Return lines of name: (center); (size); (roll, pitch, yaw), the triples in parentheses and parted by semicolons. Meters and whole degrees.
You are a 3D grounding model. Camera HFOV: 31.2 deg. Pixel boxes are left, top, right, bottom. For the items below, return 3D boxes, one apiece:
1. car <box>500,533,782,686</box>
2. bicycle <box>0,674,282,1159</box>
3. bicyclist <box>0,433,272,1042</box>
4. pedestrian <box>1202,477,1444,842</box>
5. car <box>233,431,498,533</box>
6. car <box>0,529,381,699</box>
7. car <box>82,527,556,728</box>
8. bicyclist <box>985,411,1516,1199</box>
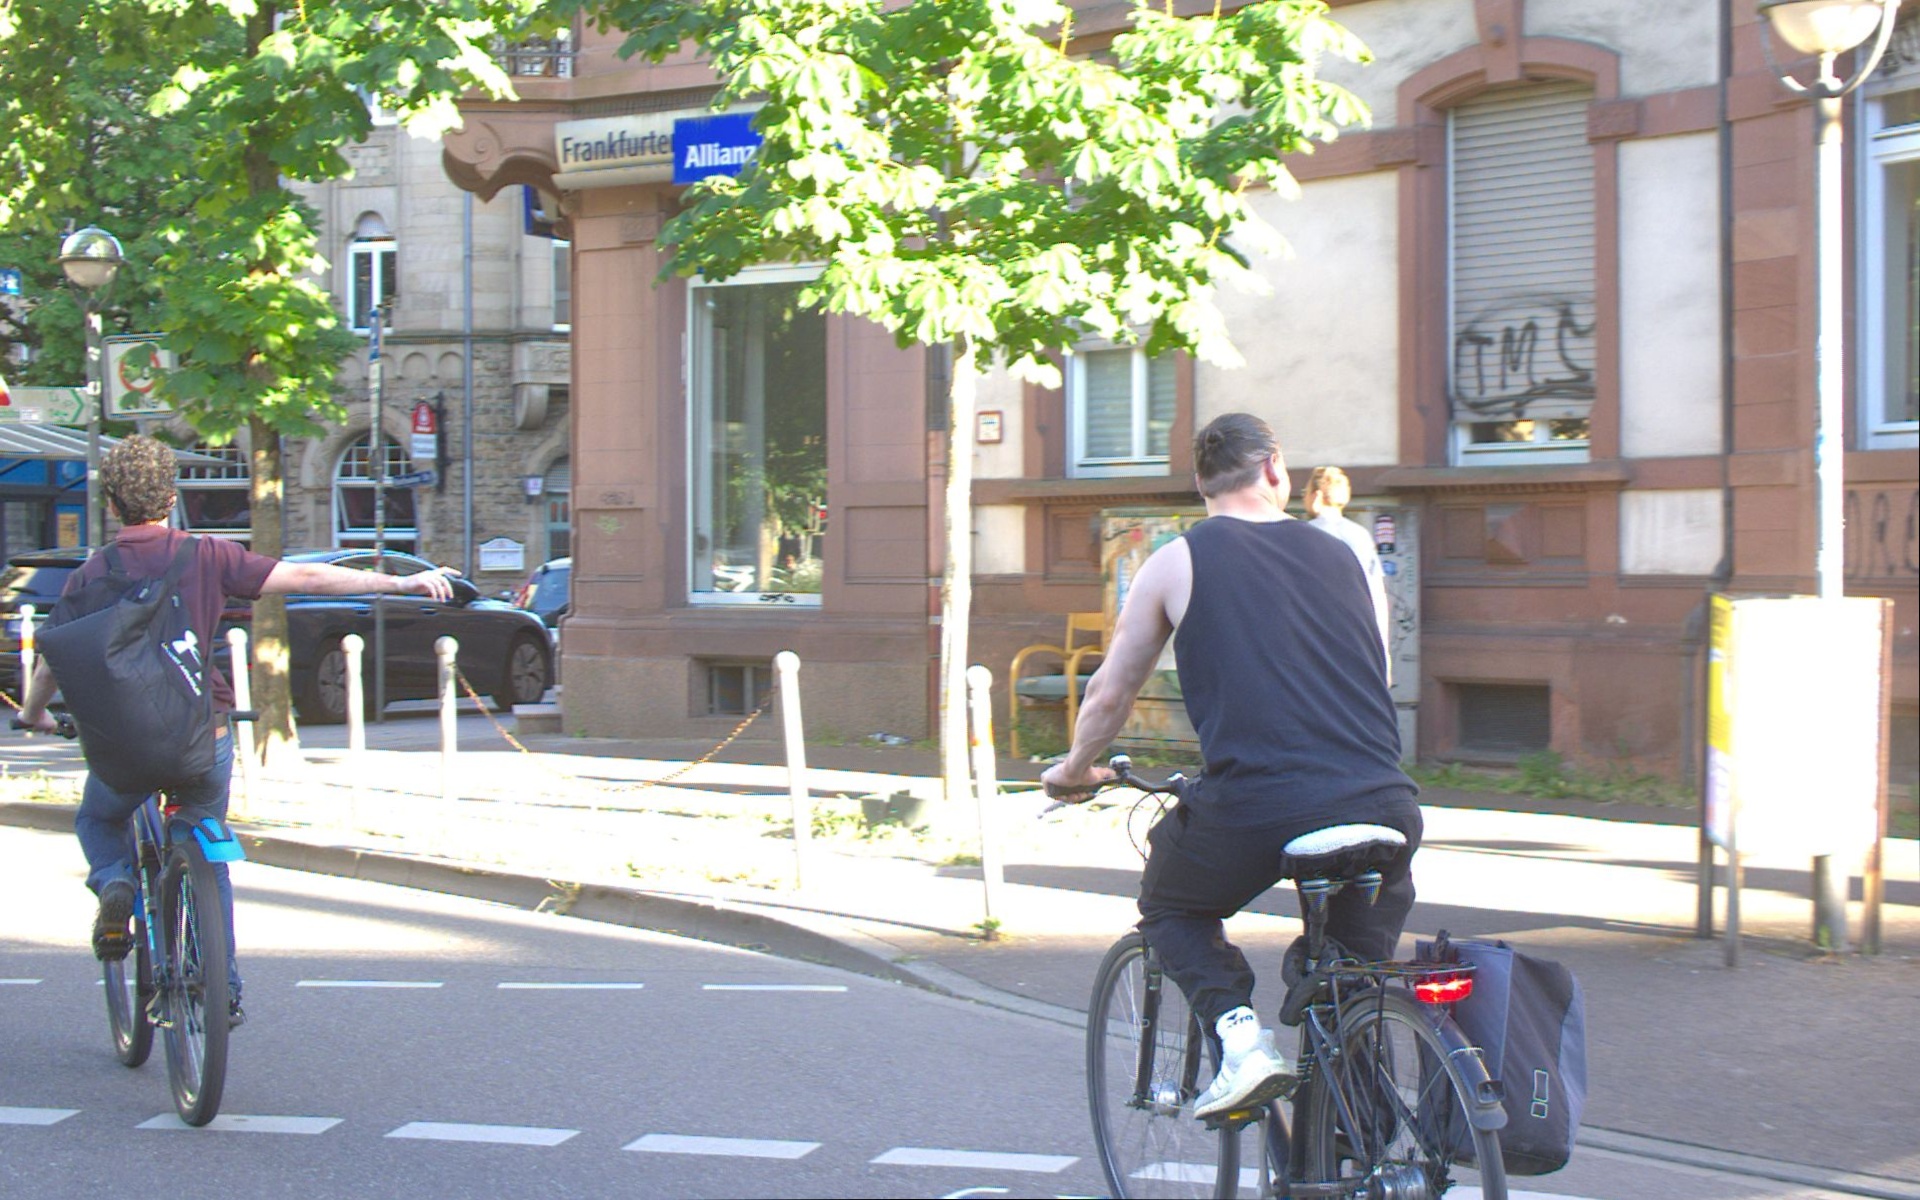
car: (-3.154, 0.058, 34.511); (1.502, 1.452, 3.203); (1, 1, 23)
bicycle: (-2.262, 0.797, 9.437); (0.717, 1.103, 1.967); (0, 1, -13)
bicyclist: (-2.252, 0.345, 9.380); (0.706, 1.568, 0.957); (0, 1, -13)
pedestrian: (1.686, 0.249, 16.063); (0.723, 1.629, 0.905); (-2, 3, -30)
car: (-9.899, -1.945, 57.237); (3.992, 1.641, 1.876); (1, 1, 25)
car: (-7.566, 0.100, 33.204); (1.793, 1.537, 3.853); (1, 1, 32)
car: (-5.450, 0.175, 29.812); (1.794, 1.605, 4.363); (0, 1, 26)
bicyclist: (0.535, 0.489, 6.659); (0.686, 1.650, 0.990); (-1, 0, -17)
